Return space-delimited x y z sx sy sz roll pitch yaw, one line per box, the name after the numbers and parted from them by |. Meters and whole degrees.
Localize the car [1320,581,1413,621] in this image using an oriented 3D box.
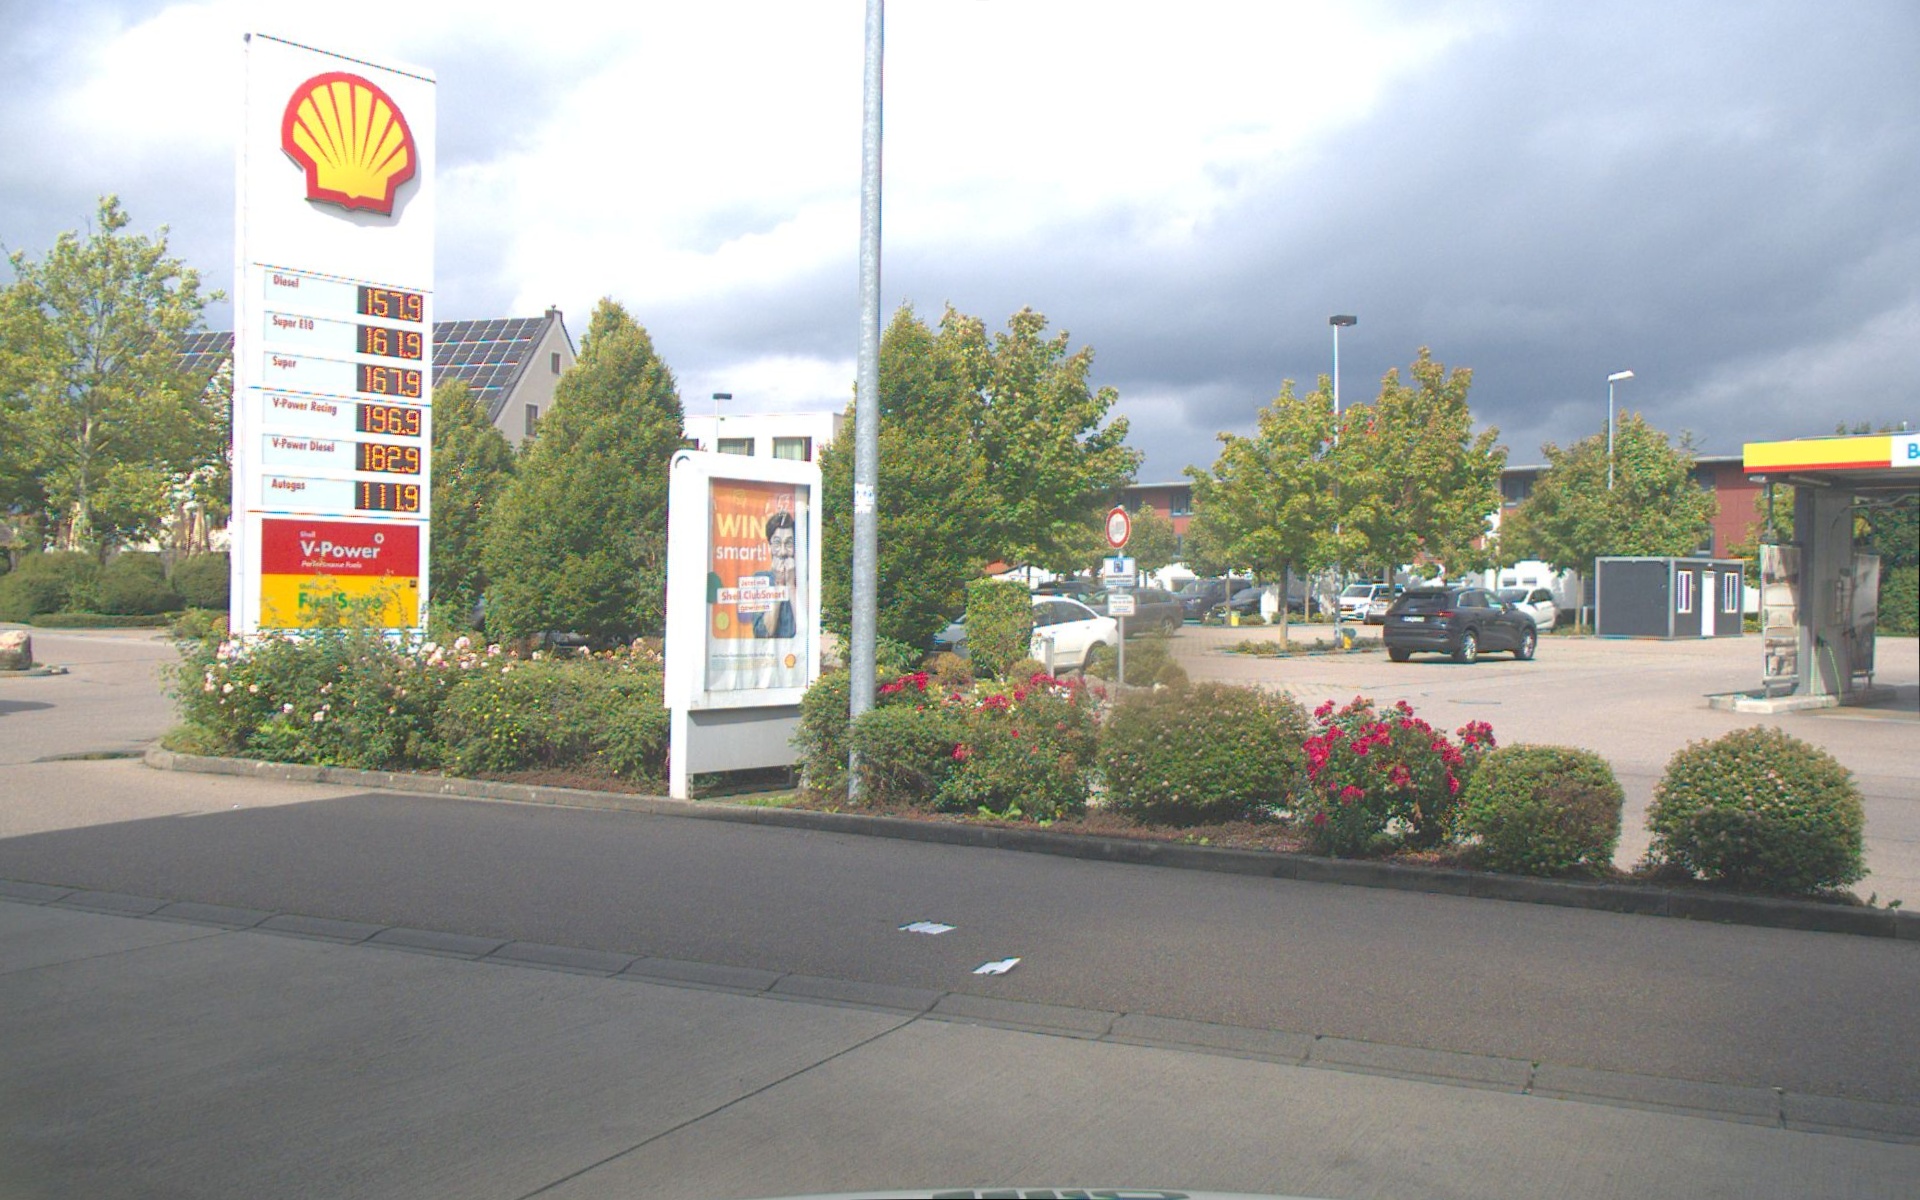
19.925 0.044 80.962 4.839 1.865 2.150 1 0 -44 | car

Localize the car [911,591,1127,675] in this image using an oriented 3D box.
1.141 0.586 29.954 1.348 1.428 4.312 1 -1 45 | car

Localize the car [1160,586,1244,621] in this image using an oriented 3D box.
9.821 0.155 66.949 3.364 1.343 1.719 1 0 -45 | car

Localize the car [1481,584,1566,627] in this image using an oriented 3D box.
18.017 0.177 52.823 3.080 1.330 1.346 1 -1 -45 | car

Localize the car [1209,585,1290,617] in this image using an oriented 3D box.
11.422 0.051 65.227 3.393 1.199 1.462 1 0 -45 | car

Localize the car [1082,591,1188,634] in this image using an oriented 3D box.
5.287 0.377 49.810 3.203 1.249 1.481 1 0 -45 | car

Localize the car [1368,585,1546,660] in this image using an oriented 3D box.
11.139 0.494 36.910 4.467 1.575 1.856 1 0 -44 | car
